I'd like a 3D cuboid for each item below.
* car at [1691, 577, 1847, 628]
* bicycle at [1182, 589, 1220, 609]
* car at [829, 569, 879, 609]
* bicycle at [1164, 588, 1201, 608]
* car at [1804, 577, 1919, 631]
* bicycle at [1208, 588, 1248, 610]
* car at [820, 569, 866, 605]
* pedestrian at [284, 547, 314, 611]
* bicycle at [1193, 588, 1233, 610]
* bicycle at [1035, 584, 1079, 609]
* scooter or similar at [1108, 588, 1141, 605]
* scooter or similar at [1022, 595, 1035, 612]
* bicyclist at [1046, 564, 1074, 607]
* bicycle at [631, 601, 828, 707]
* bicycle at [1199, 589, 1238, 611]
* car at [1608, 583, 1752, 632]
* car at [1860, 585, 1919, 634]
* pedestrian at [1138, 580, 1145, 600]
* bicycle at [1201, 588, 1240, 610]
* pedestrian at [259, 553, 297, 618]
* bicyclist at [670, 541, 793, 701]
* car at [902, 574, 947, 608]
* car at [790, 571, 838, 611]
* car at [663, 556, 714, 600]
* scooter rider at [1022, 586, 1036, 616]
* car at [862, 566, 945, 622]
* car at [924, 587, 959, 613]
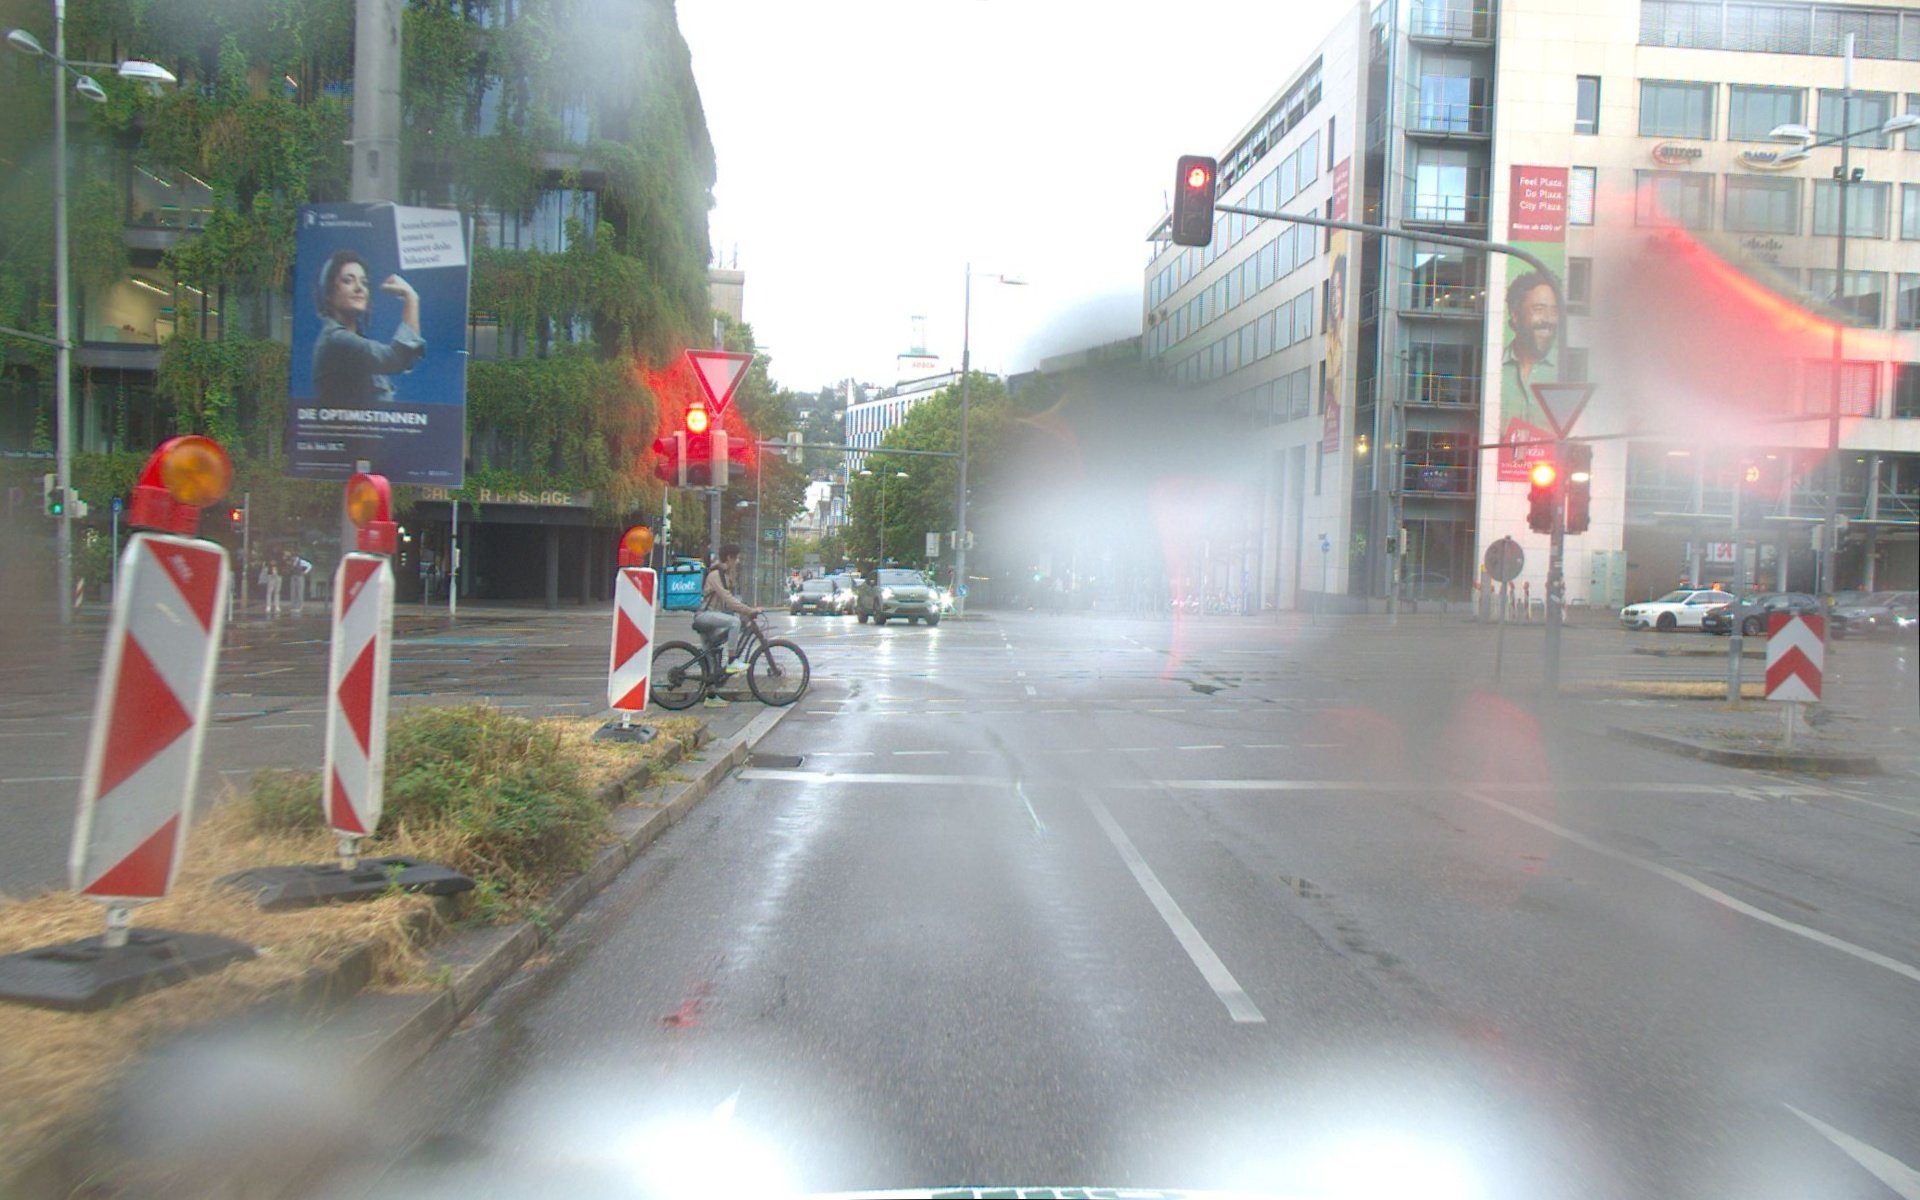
[{"bbox_3d":[26.731,0.078,54.715,4.373,1.626,1.994,1,1,-13],"label":"car"},{"bbox_3d":[11.596,-0.061,79.480,1.757,0.950,0.475,1,1,2],"label":"bicycle"},{"bbox_3d":[-5.119,-0.548,79.416,2.133,1.855,4.638,1,1,-6],"label":"car"},{"bbox_3d":[10.954,-0.084,81.319,1.757,0.950,0.475,1,1,2],"label":"bicycle"},{"bbox_3d":[29.267,0.125,52.334,4.377,1.626,1.992,1,1,-16],"label":"car"},{"bbox_3d":[11.876,-0.044,73.444,1.767,0.950,0.473,1,1,41],"label":"bicycle"},{"bbox_3d":[-5.171,-0.595,72.713,1.821,1.473,4.614,1,1,-7],"label":"car"},{"bbox_3d":[-18.633,-0.593,46.588,0.731,1.788,0.969,1,1,-24],"label":"pedestrian"},{"bbox_3d":[11.128,-0.045,72.792,1.767,0.950,0.473,1,1,41],"label":"bicycle"},{"bbox_3d":[4.598,-0.173,78.414,0.787,1.136,2.222,1,1,-41],"label":"bicycle"},{"bbox_3d":[8.797,-0.187,88.333,1.720,0.894,0.486,0,0,-20],"label":"scooter or similar"},{"bbox_3d":[4.199,0.196,101.178,0.545,1.024,1.822,1,0,-5],"label":"scooter or similar"},{"bbox_3d":[4.737,-0.689,78.268,0.787,2.009,1.097,1,0,-41],"label":"bicyclist"},{"bbox_3d":[-2.581,0.594,18.471,2.108,1.122,0.845,1,1,-14],"label":"bicycle"},{"bbox_3d":[11.730,-0.019,75.154,1.767,0.950,0.473,1,1,41],"label":"bicycle"},{"bbox_3d":[25.247,0.255,58.028,4.377,1.626,1.992,1,1,-16],"label":"car"},{"bbox_3d":[29.060,0.283,48.907,4.377,1.372,1.716,1,1,-16],"label":"car"},{"bbox_3d":[10.791,-0.590,98.348,0.346,1.194,0.414,0,0,-5],"label":"pedestrian"},{"bbox_3d":[11.704,-0.052,74.408,1.767,0.950,0.473,1,1,41],"label":"bicycle"},{"bbox_3d":[-19.128,-0.409,46.385,0.923,1.788,1.163,1,1,-24],"label":"pedestrian"},{"bbox_3d":[-2.564,0.231,18.486,1.272,1.733,0.845,1,1,-13],"label":"bicyclist"},{"bbox_3d":[-1.730,-0.450,79.579,1.954,1.468,4.553,0,2,-4],"label":"car"},{"bbox_3d":[-5.820,-0.388,66.073,1.820,1.473,4.617,1,1,-5],"label":"car"},{"bbox_3d":[-12.537,-1.020,76.560,1.955,1.928,4.461,1,1,-5],"label":"car"},{"bbox_3d":[4.202,0.075,101.188,0.747,1.805,0.795,0,0,-6],"label":"scooter rider"},{"bbox_3d":[-1.741,-0.206,49.411,1.956,1.577,4.547,1,1,-8],"label":"car"},{"bbox_3d":[-1.153,-0.022,100.935,1.954,1.469,4.553,1,1,-3],"label":"car"}]
